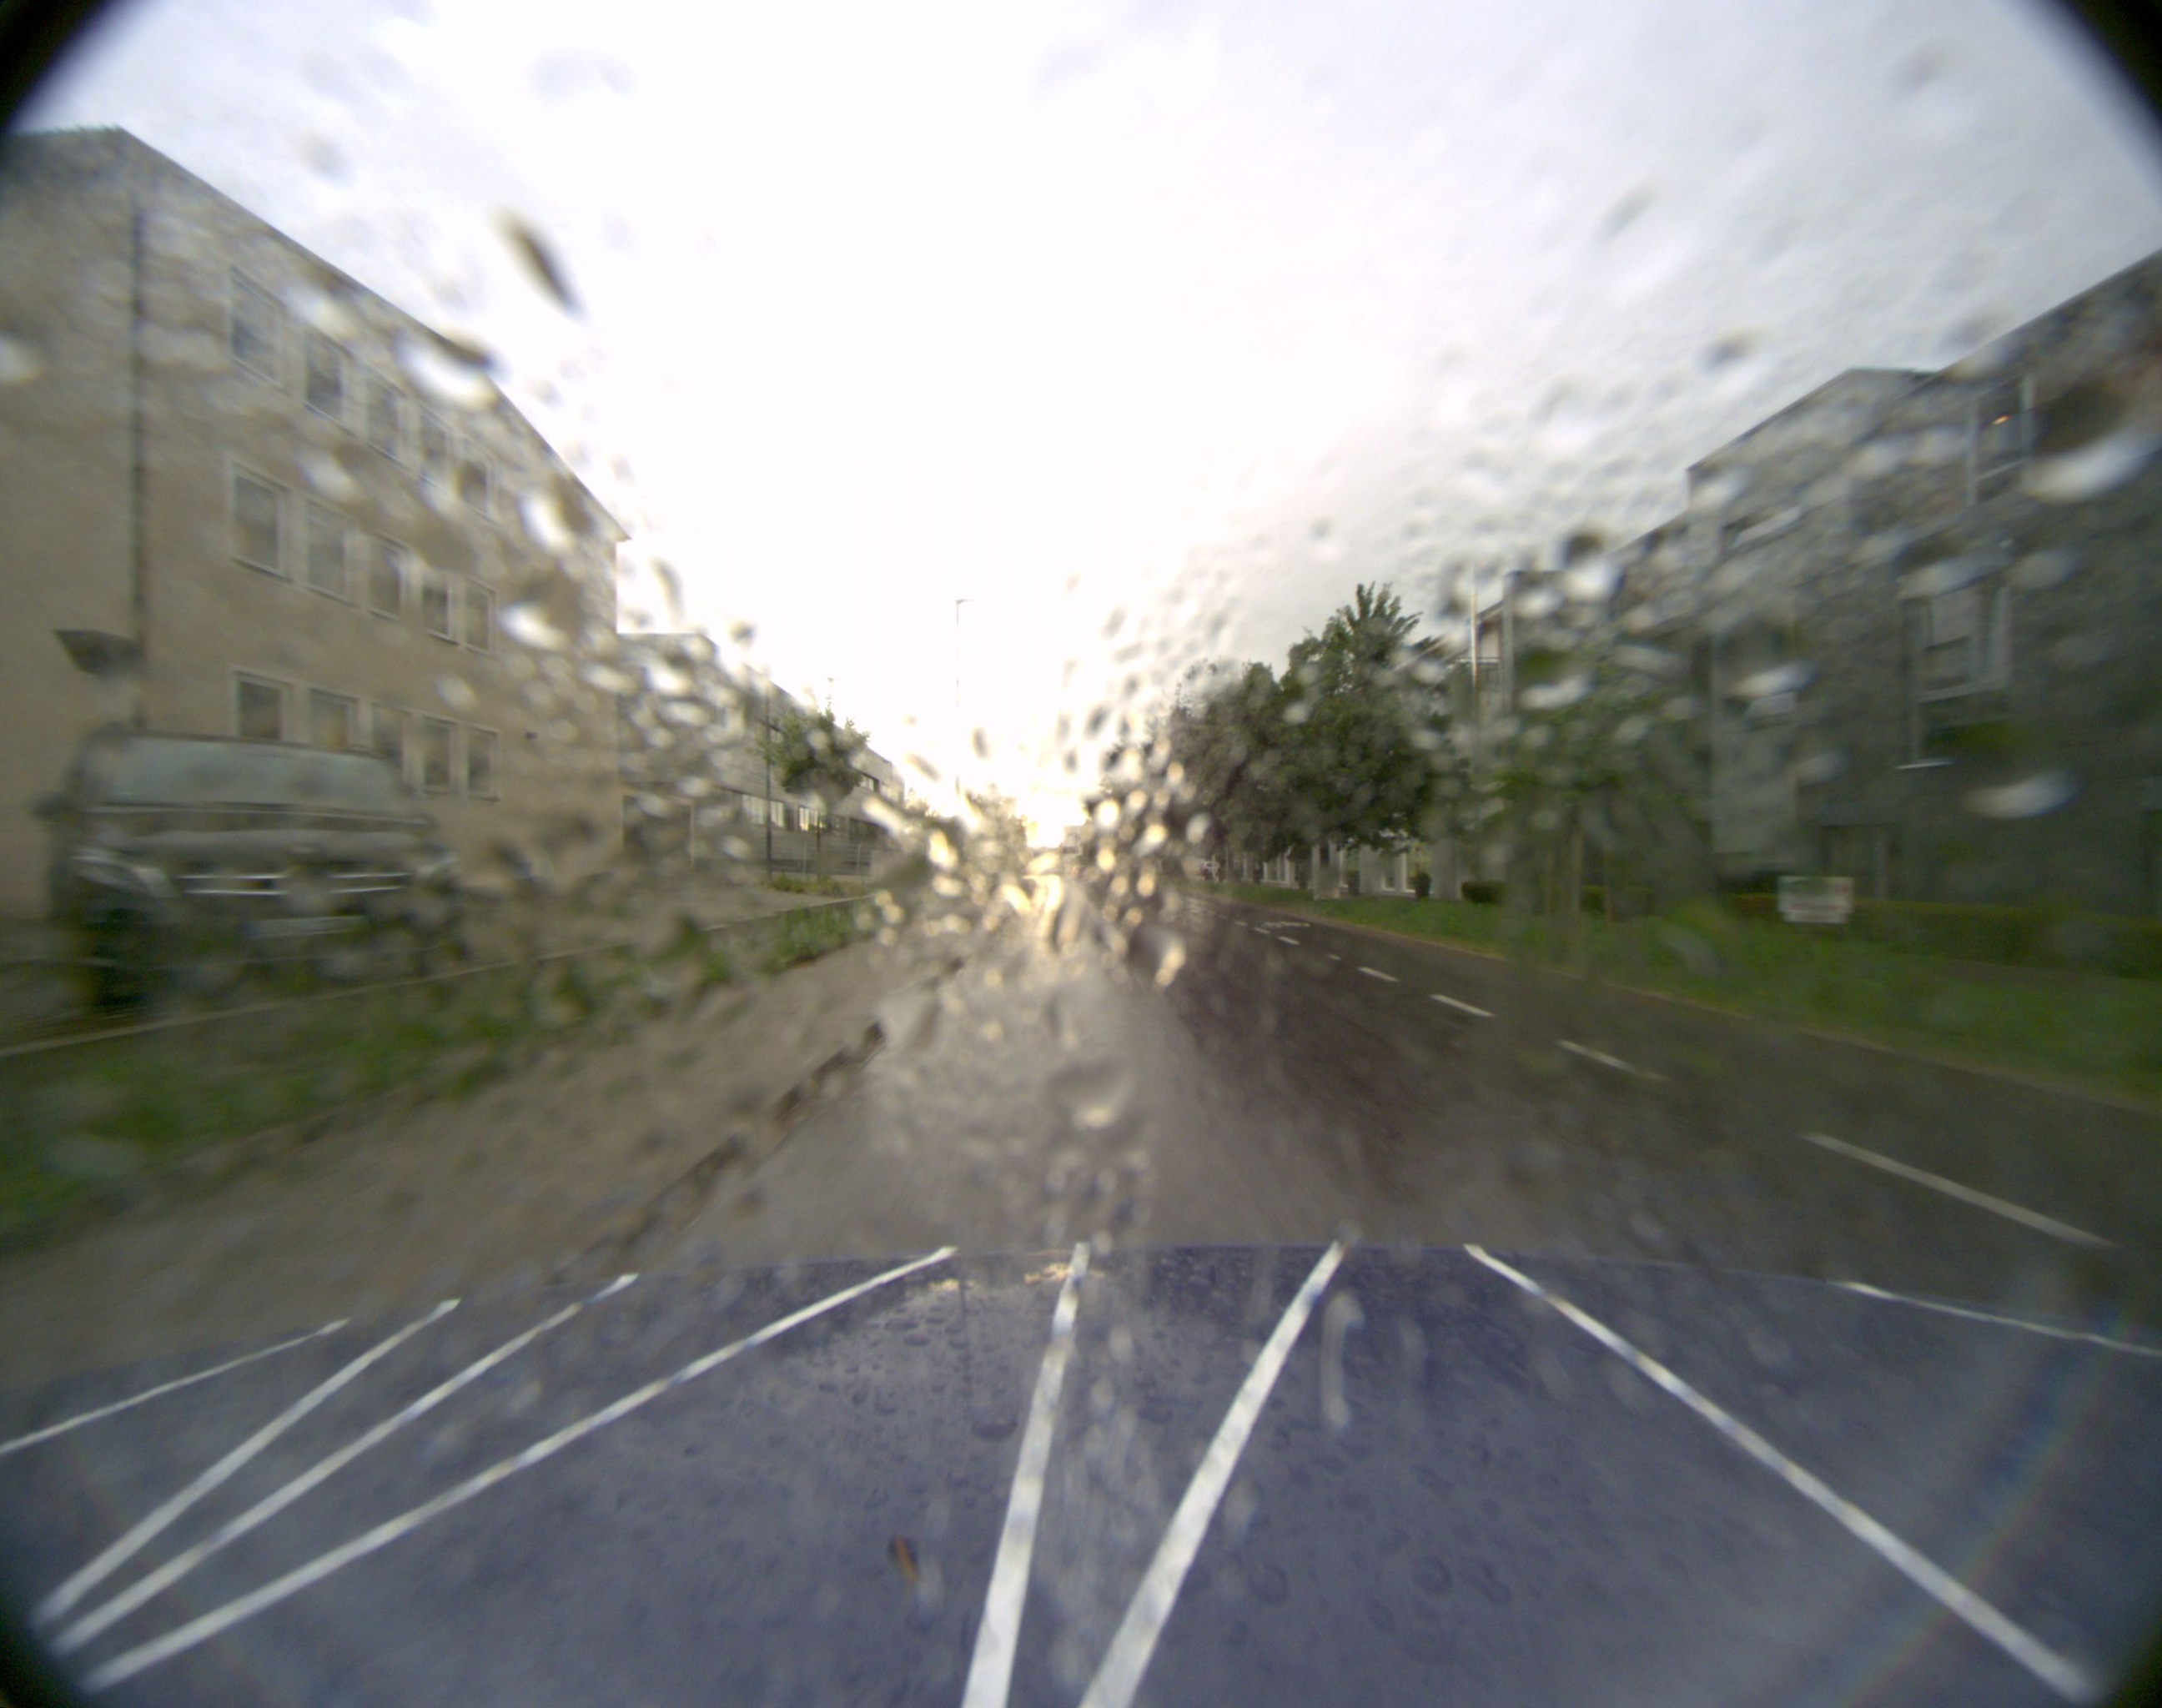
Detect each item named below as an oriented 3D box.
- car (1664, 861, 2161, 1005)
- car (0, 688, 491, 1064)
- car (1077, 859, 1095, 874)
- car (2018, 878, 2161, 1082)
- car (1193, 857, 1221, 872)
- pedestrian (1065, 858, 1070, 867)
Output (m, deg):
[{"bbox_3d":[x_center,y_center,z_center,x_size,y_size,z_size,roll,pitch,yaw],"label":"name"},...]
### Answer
[{"bbox_3d":[8.529,0.742,7.776,3.910,1.276,1.582,1,0,-1],"label":"car"},{"bbox_3d":[-6.944,0.069,6.174,5.100,1.908,2.058,1,1,36],"label":"car"},{"bbox_3d":[0.573,1.473,87.840,1.855,1.545,4.502,-2,-1,-2],"label":"car"},{"bbox_3d":[7.693,0.754,4.321,2.916,1.152,1.471,1,0,-1],"label":"car"},{"bbox_3d":[16.442,1.383,99.718,2.040,1.811,5.607,-2,-1,-7],"label":"car"},{"bbox_3d":[-2.717,1.703,151.746,0.748,1.826,0.889,0,-1,-11],"label":"pedestrian"}]
